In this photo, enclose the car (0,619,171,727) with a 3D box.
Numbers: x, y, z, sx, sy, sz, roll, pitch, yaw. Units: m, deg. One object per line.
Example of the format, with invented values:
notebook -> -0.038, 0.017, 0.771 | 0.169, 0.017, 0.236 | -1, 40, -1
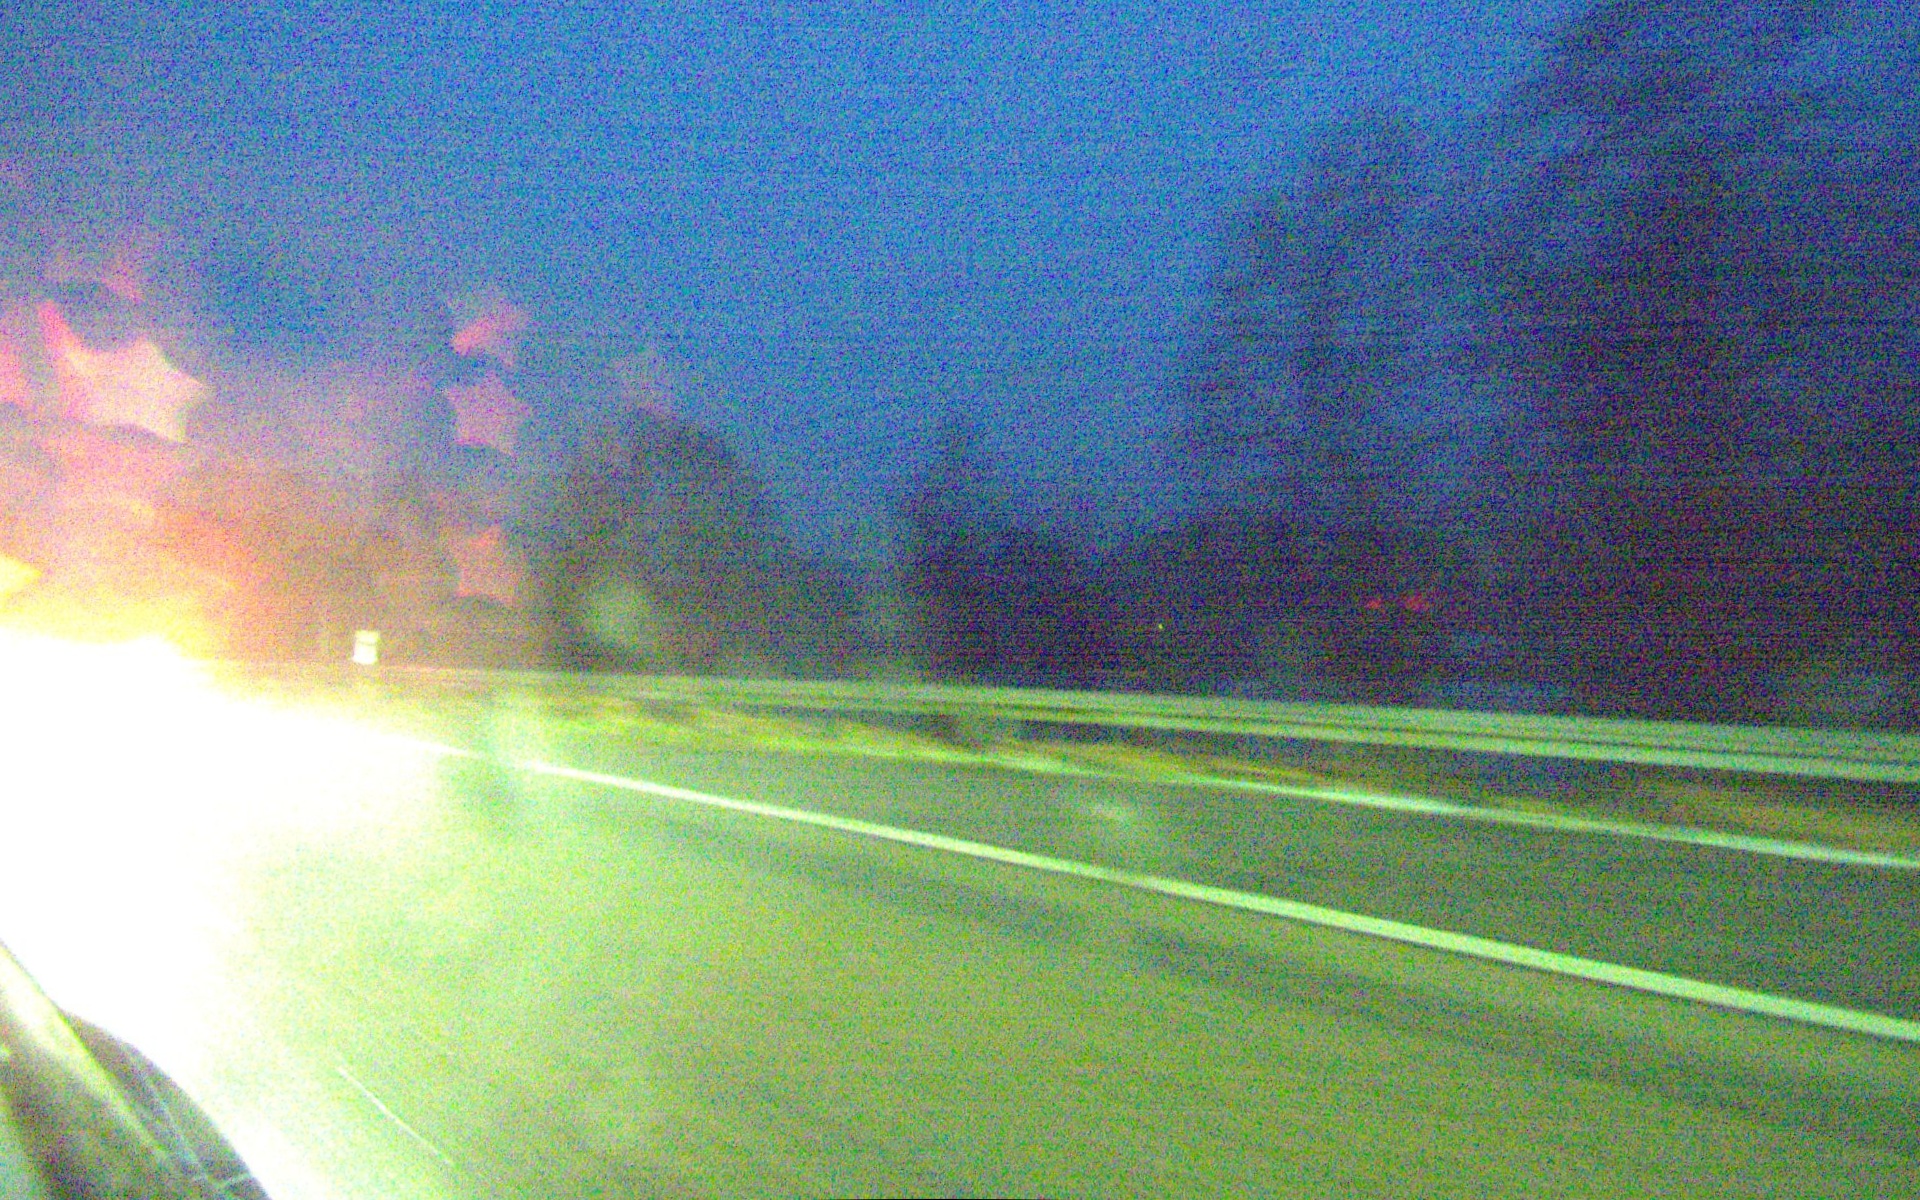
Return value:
car -> -14.148, 1.077, 16.174 | 3.598, 1.522, 1.767 | -2, -2, 41
